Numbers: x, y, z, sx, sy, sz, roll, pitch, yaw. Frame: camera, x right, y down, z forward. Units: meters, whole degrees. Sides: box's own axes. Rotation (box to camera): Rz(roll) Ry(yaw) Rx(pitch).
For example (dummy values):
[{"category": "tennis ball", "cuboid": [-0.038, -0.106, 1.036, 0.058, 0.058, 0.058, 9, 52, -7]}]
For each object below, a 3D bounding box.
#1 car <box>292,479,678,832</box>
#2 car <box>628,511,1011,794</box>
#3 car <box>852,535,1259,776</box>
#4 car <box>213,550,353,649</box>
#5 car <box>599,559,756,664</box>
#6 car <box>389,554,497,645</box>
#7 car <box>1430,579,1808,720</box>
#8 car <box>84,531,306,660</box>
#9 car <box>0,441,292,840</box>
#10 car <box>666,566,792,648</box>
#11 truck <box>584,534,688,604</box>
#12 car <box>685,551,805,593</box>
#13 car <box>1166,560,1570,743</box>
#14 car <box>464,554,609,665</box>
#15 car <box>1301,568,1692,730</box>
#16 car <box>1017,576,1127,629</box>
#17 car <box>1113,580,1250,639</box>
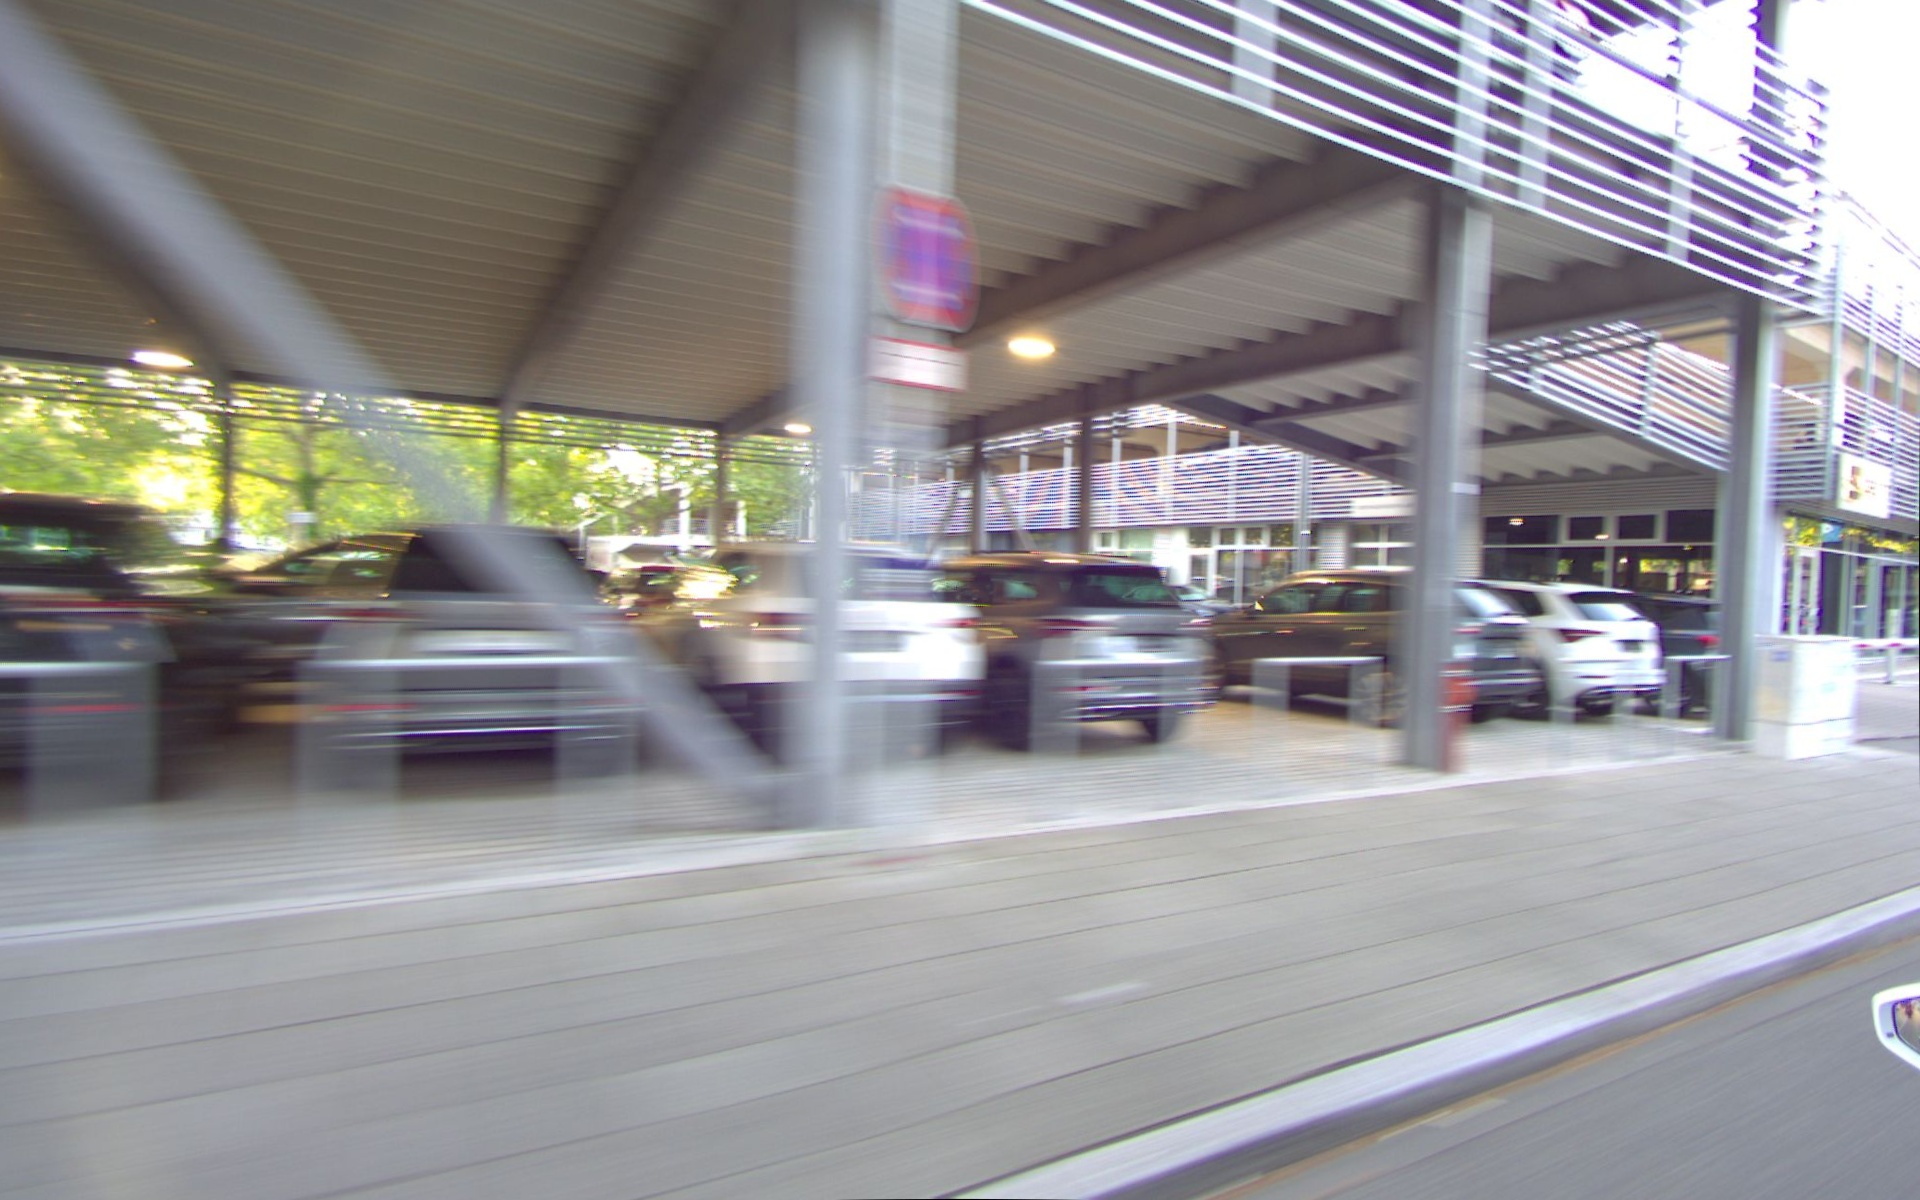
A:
[{"category": "car", "cuboid": [-3.377, 0.214, 7.103, 1.837, 1.706, 4.085, 0, 2, -28]}, {"category": "car", "cuboid": [-1.418, 0.260, 8.280, 1.837, 1.706, 4.085, 0, 2, -28]}, {"category": "car", "cuboid": [0.608, 0.336, 9.334, 1.837, 1.706, 4.047, 0, 2, -28]}, {"category": "car", "cuboid": [-13.053, -0.068, 19.603, 1.837, 1.706, 4.007, 0, 2, -28]}, {"category": "car", "cuboid": [-5.065, 0.121, 17.632, 1.837, 1.618, 4.018, 0, 2, -28]}, {"category": "car", "cuboid": [-10.784, -0.068, 20.949, 1.837, 1.706, 4.007, 0, 2, -28]}, {"category": "car", "cuboid": [8.943, 0.587, 13.982, 1.839, 1.607, 3.966, 3, 0, -31]}, {"category": "car", "cuboid": [-10.611, -0.109, 14.270, 1.837, 1.541, 4.188, 0, 2, -28]}, {"category": "car", "cuboid": [-5.306, 0.118, 5.954, 1.837, 1.706, 4.085, 0, 2, -28]}, {"category": "car", "cuboid": [-5.420, 0.082, 23.164, 1.837, 1.706, 4.130, 0, 2, -28]}, {"category": "truck", "cuboid": [-13.379, -1.287, 41.073, 2.417, 2.603, 6.878, 1, 2, -32]}, {"category": "car", "cuboid": [-8.919, -1.146, 41.655, 4.341, 1.595, 2.282, 1, 2, -33]}, {"category": "car", "cuboid": [4.428, 0.420, 11.574, 1.837, 1.706, 4.070, 0, 2, -28]}, {"category": "car", "cuboid": [-7.044, 0.077, 16.483, 1.837, 1.579, 3.970, 0, 2, -28]}, {"category": "car", "cuboid": [6.601, 0.461, 12.855, 1.837, 1.706, 4.062, 0, 2, -28]}, {"category": "car", "cuboid": [3.691, 0.029, 33.754, 1.670, 1.493, 3.805, -3, 5, -33]}, {"category": "car", "cuboid": [6.447, 0.212, 29.574, 1.768, 1.493, 3.805, -3, 4, -33]}]
